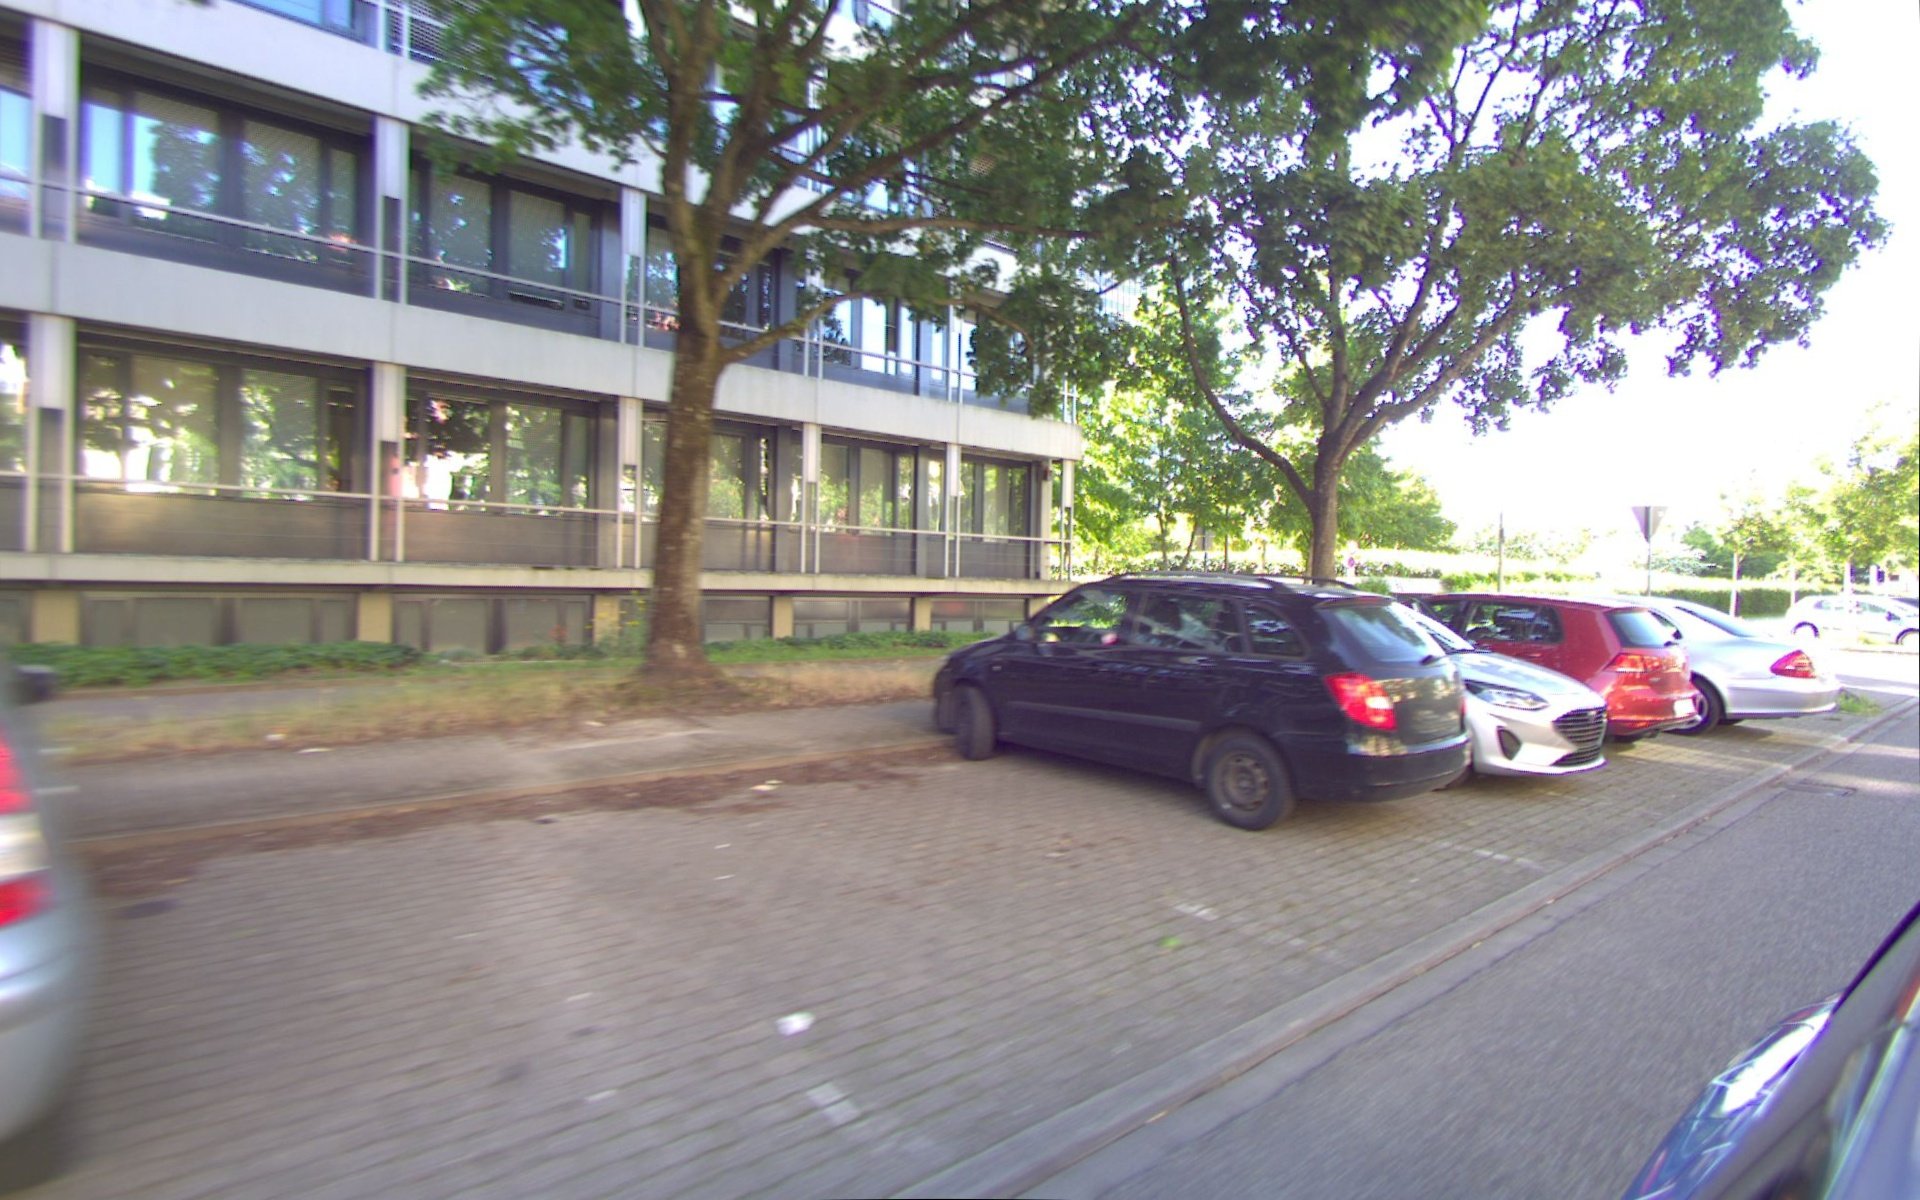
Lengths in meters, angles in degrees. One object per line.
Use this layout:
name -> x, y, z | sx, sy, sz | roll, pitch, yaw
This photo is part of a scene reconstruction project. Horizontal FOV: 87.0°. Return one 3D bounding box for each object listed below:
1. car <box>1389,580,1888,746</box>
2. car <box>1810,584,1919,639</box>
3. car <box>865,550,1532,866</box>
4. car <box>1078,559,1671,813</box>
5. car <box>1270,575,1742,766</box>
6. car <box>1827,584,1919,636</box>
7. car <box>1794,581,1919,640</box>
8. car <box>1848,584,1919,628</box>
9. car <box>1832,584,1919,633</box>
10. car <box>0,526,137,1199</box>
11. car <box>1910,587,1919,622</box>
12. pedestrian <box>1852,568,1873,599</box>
car -> 7.718, 0.566, 11.949 | 1.716, 1.493, 4.588 | 0, 2, -40
car -> 29.955, 0.395, 31.992 | 4.552, 1.533, 1.951 | 5, 5, 44
car -> 1.457, 0.482, 7.556 | 1.890, 1.561, 4.520 | 0, 3, -44
car -> 3.306, 0.491, 8.993 | 1.886, 1.561, 4.530 | 0, 3, -36
car -> 5.452, 0.550, 10.535 | 1.886, 1.464, 3.851 | 0, 3, -36
car -> 31.726, 0.362, 33.803 | 1.720, 1.533, 3.886 | -1, 4, -39
car -> 27.876, 0.311, 30.480 | 1.671, 1.533, 3.959 | -1, 4, -39
car -> 35.534, 0.285, 37.347 | 1.713, 1.465, 3.818 | 0, 6, -38
car -> 33.699, 0.343, 35.350 | 2.120, 1.533, 4.562 | -1, 4, -39
car -> -3.539, 0.526, 2.822 | 1.590, 1.511, 3.746 | 0, 3, -45
car -> 41.902, 0.379, 41.370 | 1.611, 1.446, 4.108 | 0, 5, -33
pedestrian -> 47.227, -0.868, 52.959 | 0.920, 1.561, 0.608 | 0, 1, -37
